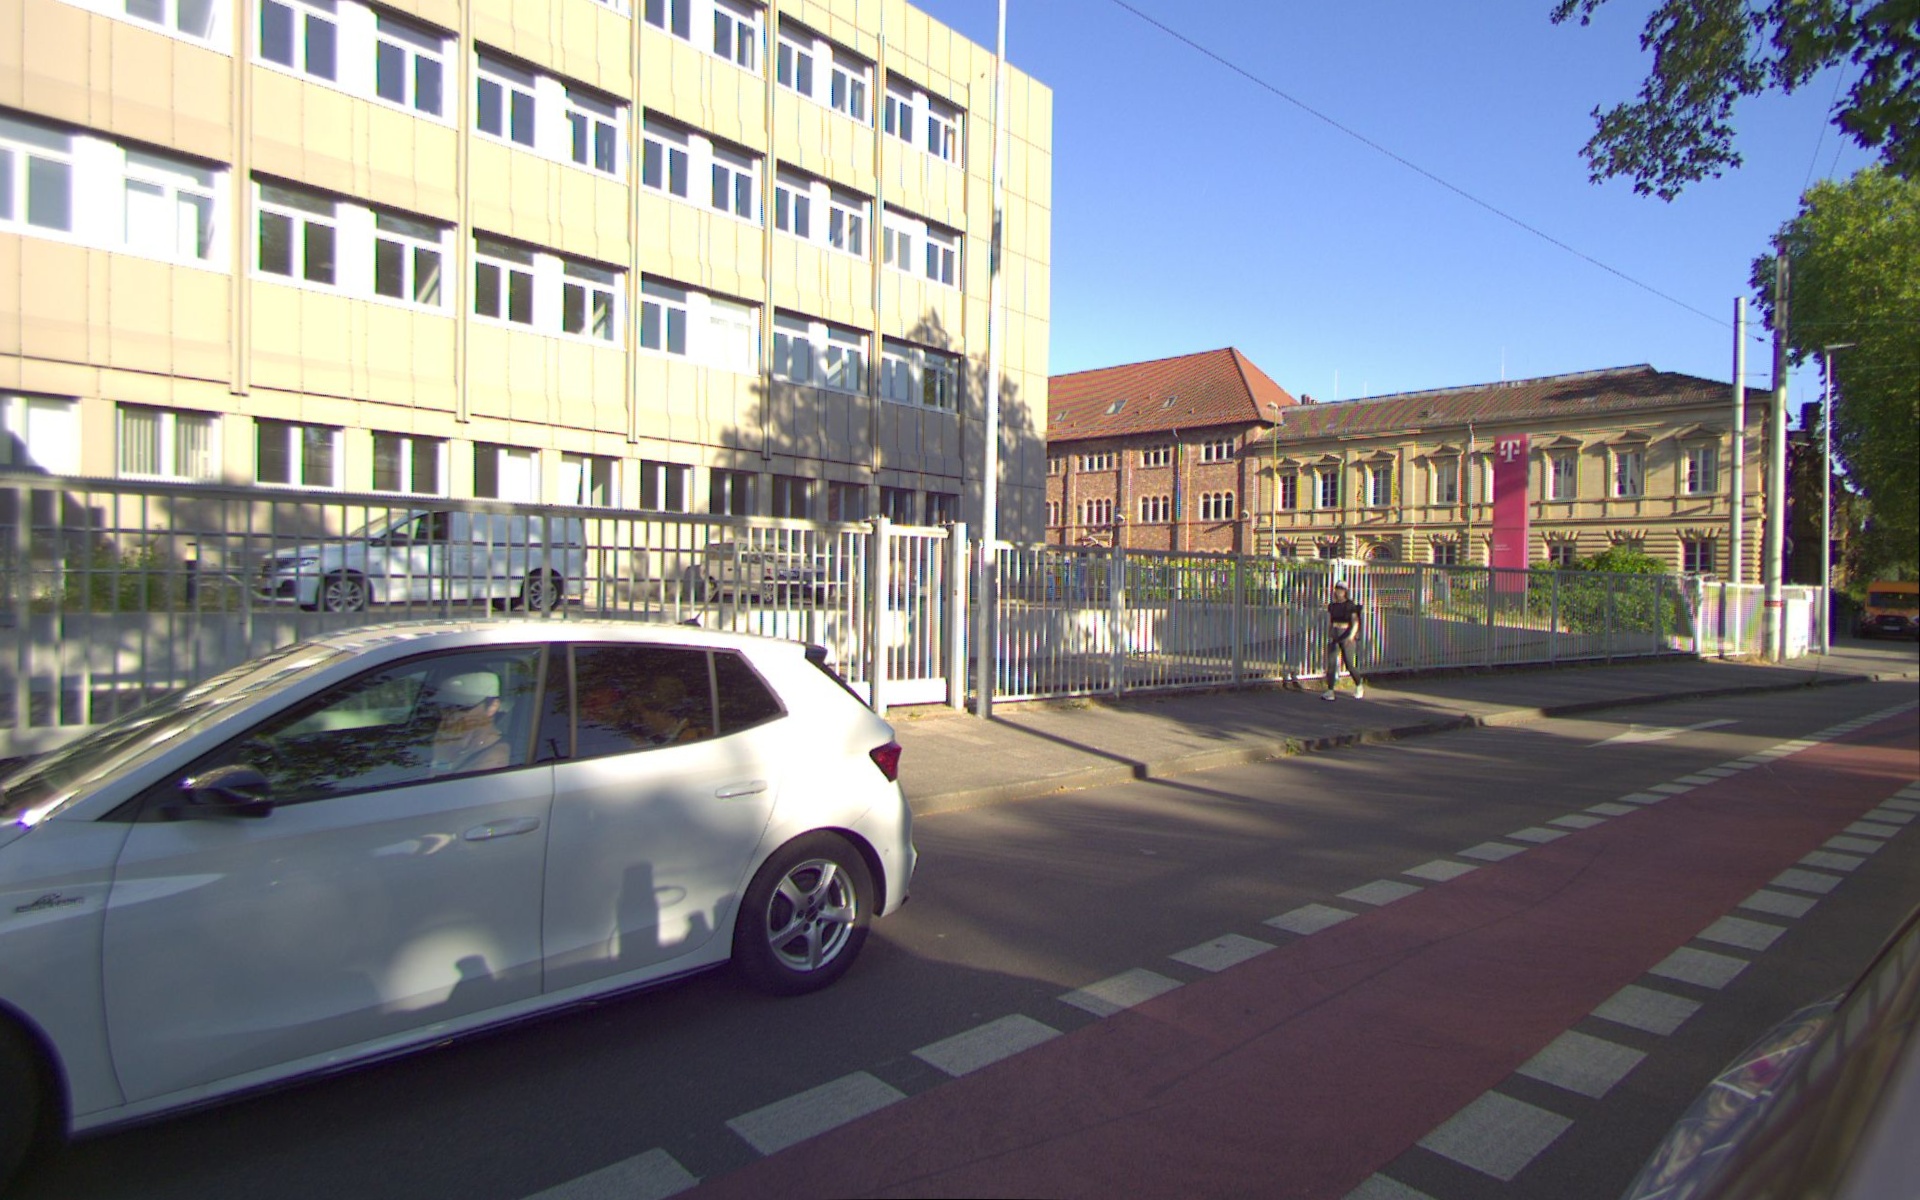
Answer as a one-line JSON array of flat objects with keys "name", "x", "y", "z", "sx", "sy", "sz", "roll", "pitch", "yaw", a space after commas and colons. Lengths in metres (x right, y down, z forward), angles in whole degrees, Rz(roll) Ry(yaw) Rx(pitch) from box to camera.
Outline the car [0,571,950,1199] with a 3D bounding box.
[{"name": "car", "x": -2.082, "y": 0.683, "z": 3.608, "sx": 3.914, "sy": 1.520, "sz": 1.804, "roll": 0, "pitch": 0, "yaw": -43}]

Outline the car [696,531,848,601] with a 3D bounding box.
[{"name": "car", "x": -5.133, "y": -0.913, "z": 27.341, "sx": 4.252, "sy": 1.739, "sz": 1.962, "roll": 2, "pitch": 2, "yaw": 44}]

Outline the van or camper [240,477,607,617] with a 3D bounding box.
[{"name": "van or camper", "x": -8.544, "y": -0.771, "z": 16.487, "sx": 1.980, "sy": 1.932, "sz": 4.922, "roll": 3, "pitch": 2, "yaw": 43}]

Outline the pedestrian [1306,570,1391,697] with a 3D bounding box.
[{"name": "pedestrian", "x": 5.421, "y": 0.440, "z": 14.120, "sx": 0.913, "sy": 1.705, "sz": 0.698, "roll": 0, "pitch": 1, "yaw": -36}]

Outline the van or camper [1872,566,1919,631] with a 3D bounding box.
[{"name": "van or camper", "x": 40.135, "y": -0.070, "z": 42.742, "sx": 5.678, "sy": 2.591, "sz": 2.037, "roll": 0, "pitch": 1, "yaw": -45}]
